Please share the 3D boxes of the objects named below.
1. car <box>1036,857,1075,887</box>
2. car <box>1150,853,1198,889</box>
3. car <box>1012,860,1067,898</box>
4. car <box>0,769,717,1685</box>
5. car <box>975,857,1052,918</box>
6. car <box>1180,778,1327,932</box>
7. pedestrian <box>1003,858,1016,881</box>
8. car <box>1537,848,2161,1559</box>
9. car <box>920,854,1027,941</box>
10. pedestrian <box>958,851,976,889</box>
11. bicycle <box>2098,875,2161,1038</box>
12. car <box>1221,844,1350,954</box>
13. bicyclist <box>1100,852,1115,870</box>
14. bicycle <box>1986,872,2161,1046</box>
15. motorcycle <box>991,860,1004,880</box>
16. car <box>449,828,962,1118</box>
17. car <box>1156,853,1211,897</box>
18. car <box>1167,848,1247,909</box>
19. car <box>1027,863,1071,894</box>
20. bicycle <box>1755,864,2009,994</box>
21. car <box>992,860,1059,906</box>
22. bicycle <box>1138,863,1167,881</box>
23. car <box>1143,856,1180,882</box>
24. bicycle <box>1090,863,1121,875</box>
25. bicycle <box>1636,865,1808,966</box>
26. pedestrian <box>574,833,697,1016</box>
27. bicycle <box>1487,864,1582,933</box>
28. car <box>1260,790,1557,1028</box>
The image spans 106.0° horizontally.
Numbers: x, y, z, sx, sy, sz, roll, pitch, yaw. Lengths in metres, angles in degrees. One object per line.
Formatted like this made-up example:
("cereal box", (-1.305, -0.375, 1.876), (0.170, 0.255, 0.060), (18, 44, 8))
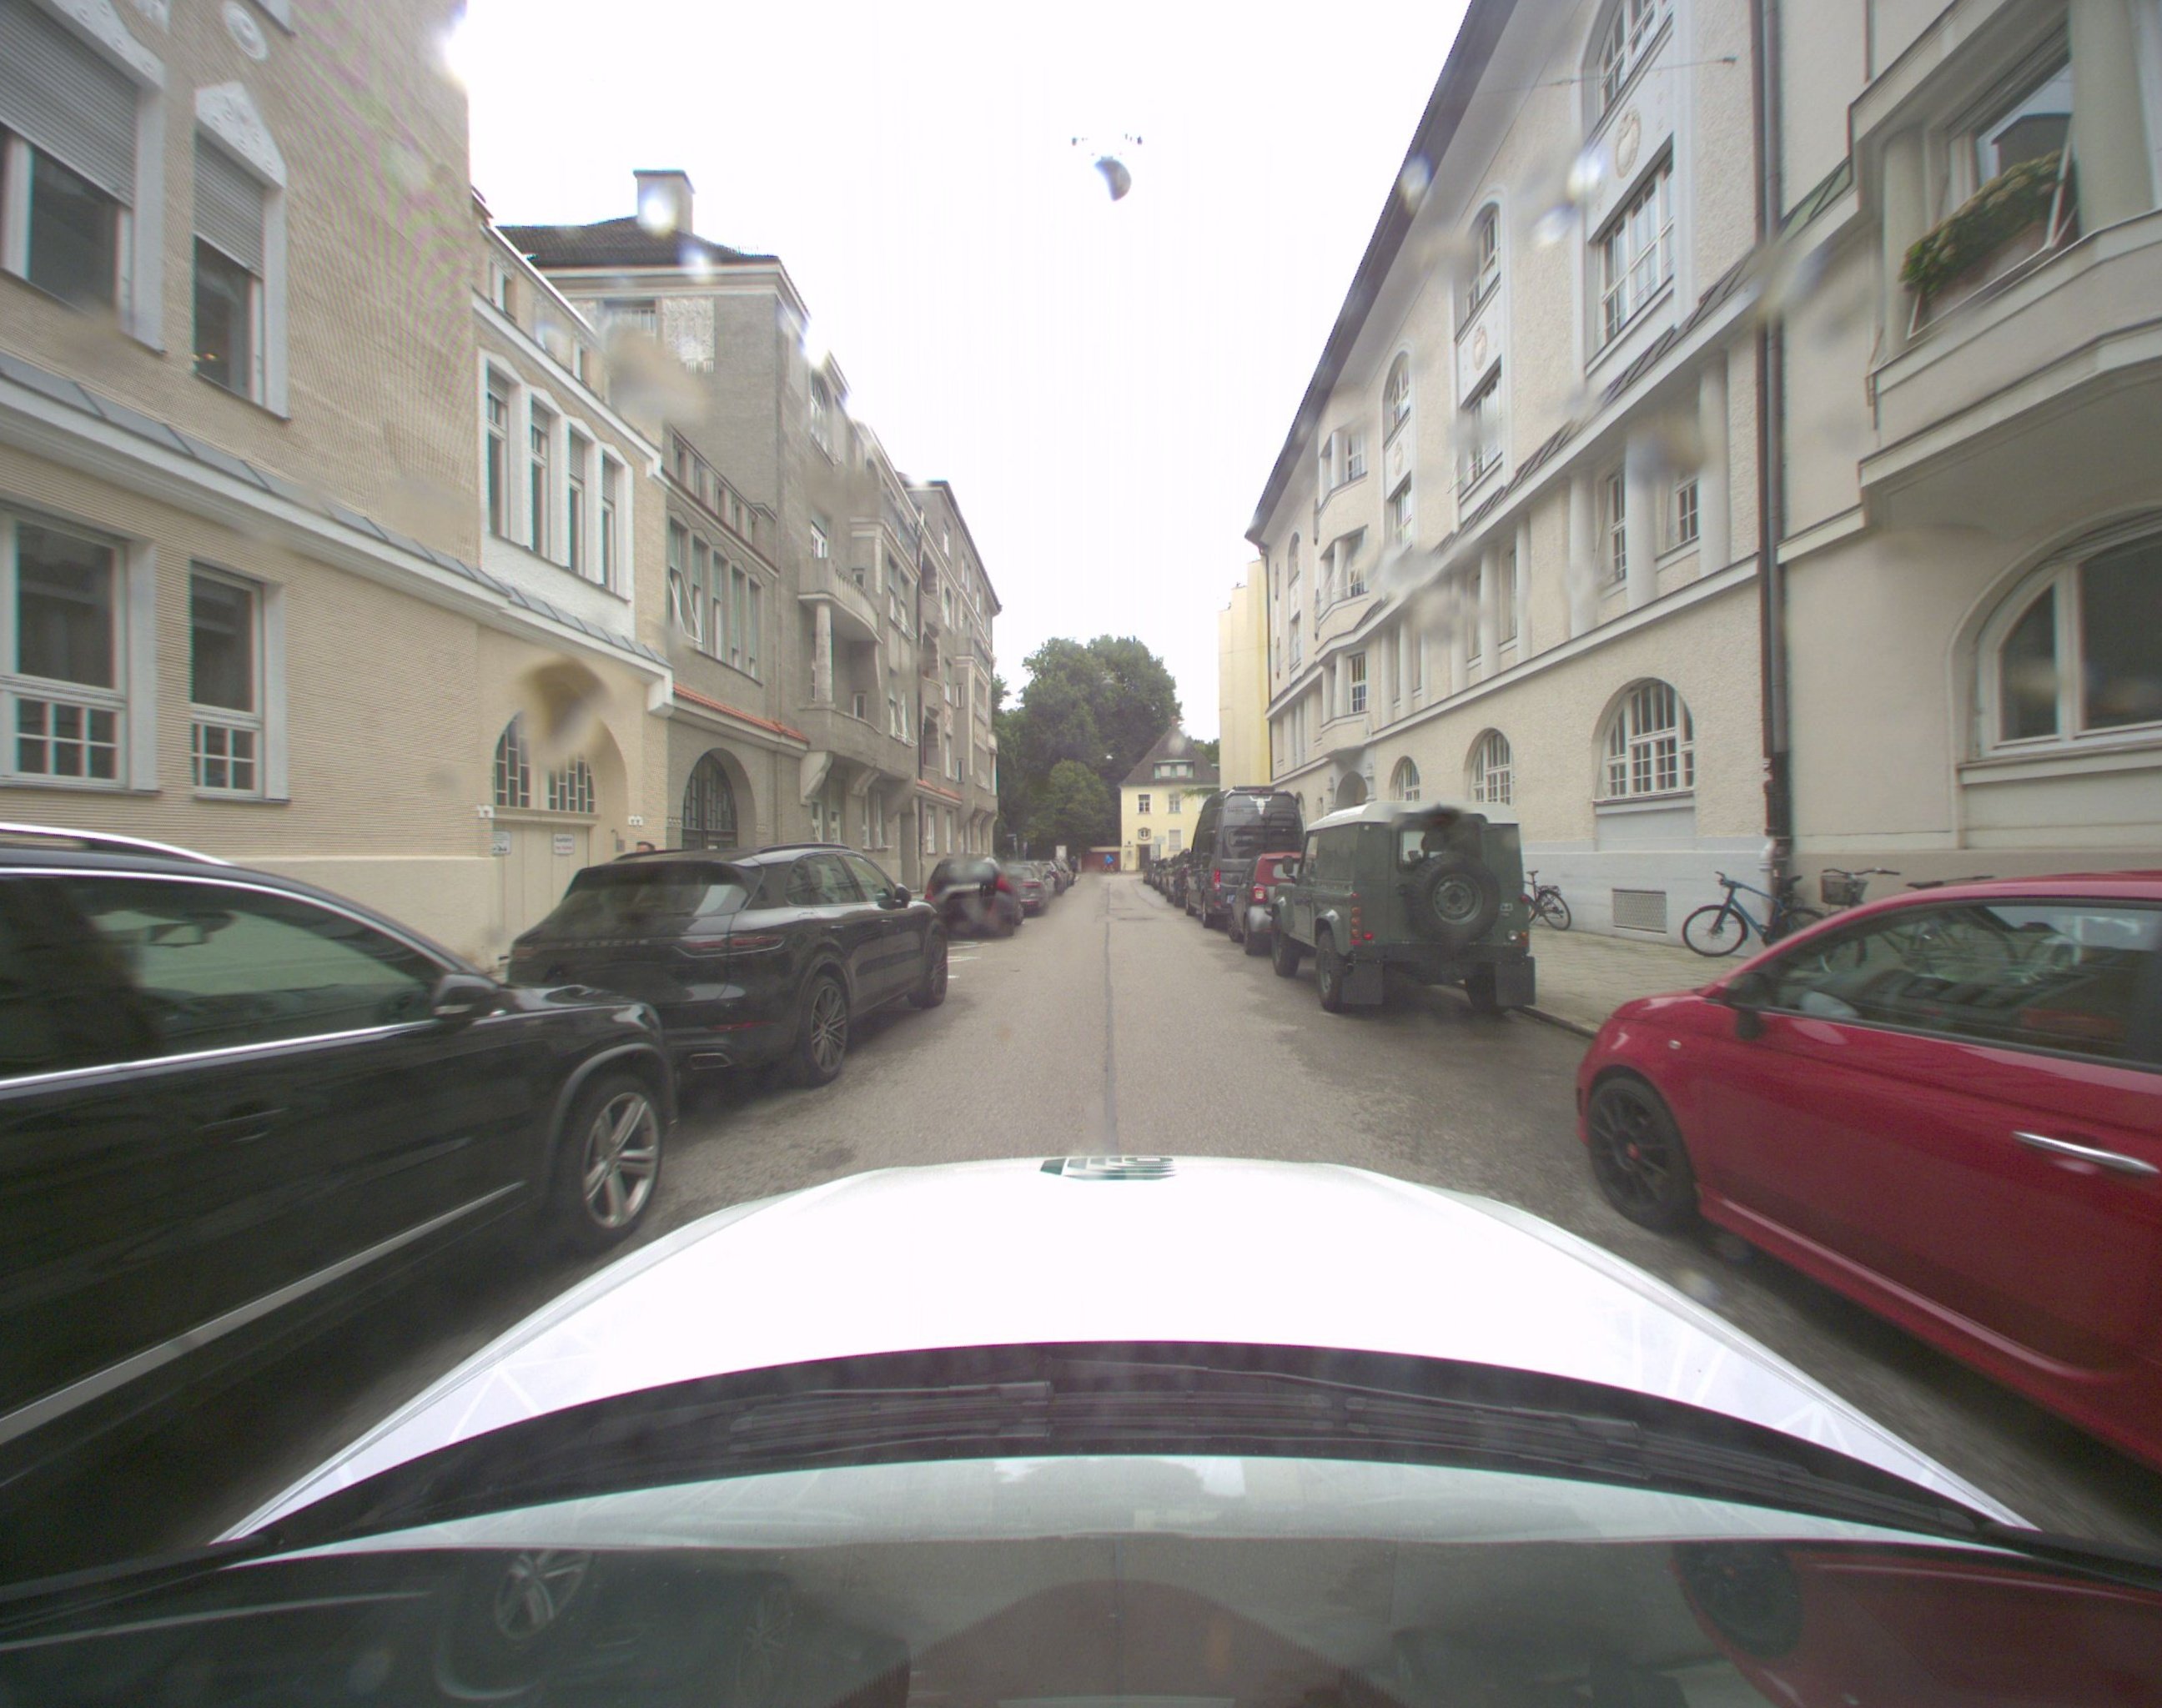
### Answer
("car", (-1.339, 0.959, 45.016), (1.748, 1.515, 4.711), (-1, 0, 3))
("car", (4.161, 0.761, 36.963), (1.630, 1.537, 3.852), (0, -1, -2))
("car", (-1.652, 0.978, 33.810), (1.987, 1.448, 4.778), (-1, 0, 0))
("car", (-2.783, 0.679, 2.104), (1.725, 1.643, 4.103), (0, -1, 2))
("car", (-1.795, 0.862, 22.901), (1.832, 1.513, 4.606), (-1, 0, -1))
("car", (3.707, 0.078, 18.795), (2.246, 2.960, 6.133), (0, -1, 1))
("pedestrian", (-5.695, 1.224, 64.721), (0.835, 1.787, 0.937), (0, -1, 4))
("car", (2.995, 0.732, 2.305), (1.488, 1.472, 3.504), (0, 0, 0))
("car", (-2.143, 0.829, 17.213), (1.798, 1.572, 3.811), (-2, 0, -2))
("pedestrian", (-5.370, 0.752, 38.480), (0.714, 1.817, 0.731), (0, -1, 1))
("bicycle", (7.600, 0.719, 5.503), (0.313, 1.117, 1.569), (-1, -1, 29))
("car", (3.262, 0.682, 13.471), (1.536, 1.626, 2.817), (0, -1, 2))
("bicyclist", (2.319, 0.624, 72.223), (1.115, 1.651, 0.991), (-1, -1, 16))
("bicycle", (7.448, 0.707, 6.065), (0.426, 1.117, 1.609), (-1, -1, 29))
("motorcycle", (-6.269, 1.166, 60.946), (0.733, 1.441, 2.147), (0, -1, 0))
("car", (-2.549, 0.702, 7.041), (1.941, 1.659, 4.624), (0, -1, 5))
("car", (3.909, 0.776, 31.573), (1.629, 1.592, 3.967), (0, -1, -1))
("car", (3.818, 0.705, 25.400), (1.985, 1.689, 4.677), (0, 0, 2))
("car", (-1.500, 1.140, 39.304), (1.748, 1.331, 4.099), (-1, 0, 3))
("bicycle", (7.780, 0.667, 8.069), (0.638, 1.117, 1.969), (0, -1, 2))
("car", (-1.878, 0.969, 28.882), (1.798, 1.431, 4.443), (-2, 0, 3))
("bicycle", (4.772, 1.204, 54.577), (1.774, 1.085, 0.670), (-2, 1, 29))
("car", (4.647, 0.853, 47.459), (1.687, 1.471, 4.610), (0, -1, 0))
("bicycle", (2.151, 1.320, 72.279), (2.592, 0.988, 0.991), (-1, -1, 16))
("bicycle", (7.859, 0.699, 10.122), (0.643, 1.117, 1.969), (0, -1, 2))
("pedestrian", (-4.547, 0.696, 8.363), (0.832, 1.789, 0.741), (0, -1, 1))
("bicycle", (7.817, 0.737, 14.130), (0.649, 1.069, 1.789), (-4, -1, 2))
("car", (3.257, 0.489, 9.038), (1.788, 2.039, 4.073), (0, -1, 2))
